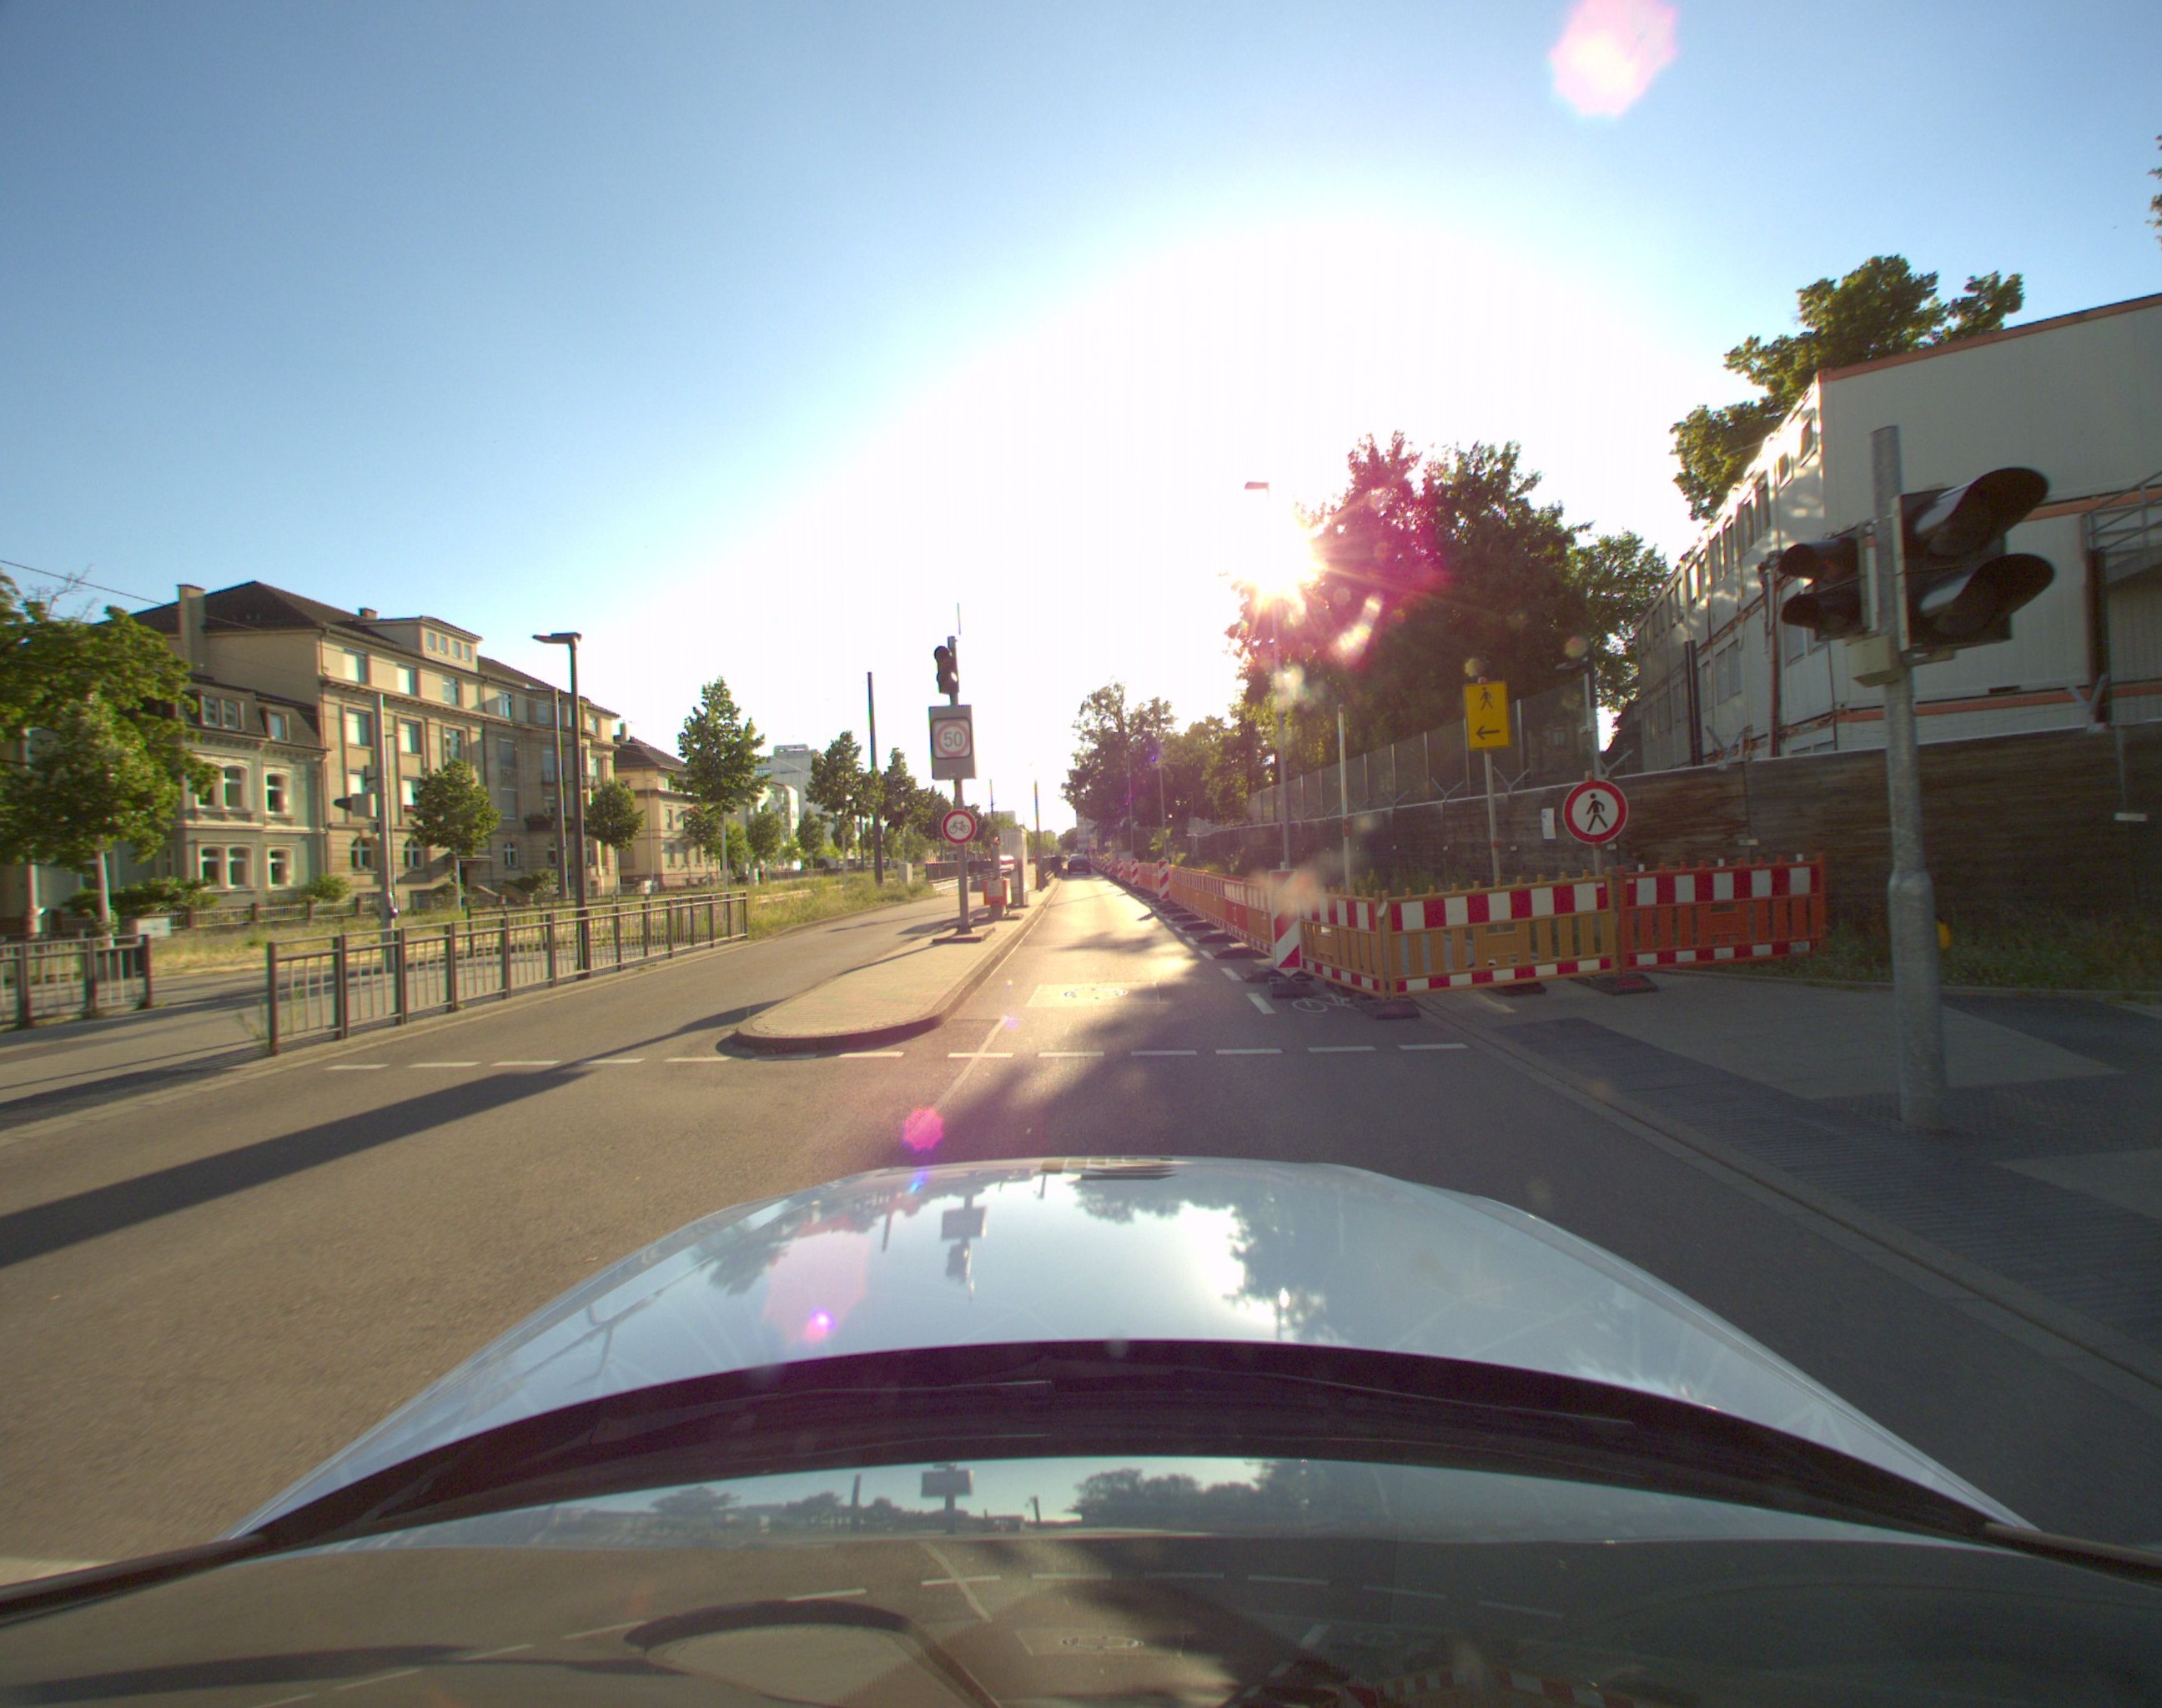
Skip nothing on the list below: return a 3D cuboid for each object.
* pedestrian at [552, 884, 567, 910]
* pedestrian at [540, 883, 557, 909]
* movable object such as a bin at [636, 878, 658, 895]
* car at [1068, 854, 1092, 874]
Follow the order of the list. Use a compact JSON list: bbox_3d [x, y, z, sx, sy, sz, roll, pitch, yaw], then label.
[{"bbox_3d":[-36.117,2.969,56.385,0.553,1.720,0.653,-3,0,-1],"label":"pedestrian"},{"bbox_3d":[-36.848,2.925,56.363,0.654,1.720,0.653,-3,0,-1],"label":"pedestrian"},{"bbox_3d":[-37.812,2.834,70.979,1.201,1.429,1.079,-3,0,-1],"label":"movable object such as a bin"},{"bbox_3d":[-0.097,0.867,70.008,1.999,1.659,4.000,-1,-1,0],"label":"car"}]
